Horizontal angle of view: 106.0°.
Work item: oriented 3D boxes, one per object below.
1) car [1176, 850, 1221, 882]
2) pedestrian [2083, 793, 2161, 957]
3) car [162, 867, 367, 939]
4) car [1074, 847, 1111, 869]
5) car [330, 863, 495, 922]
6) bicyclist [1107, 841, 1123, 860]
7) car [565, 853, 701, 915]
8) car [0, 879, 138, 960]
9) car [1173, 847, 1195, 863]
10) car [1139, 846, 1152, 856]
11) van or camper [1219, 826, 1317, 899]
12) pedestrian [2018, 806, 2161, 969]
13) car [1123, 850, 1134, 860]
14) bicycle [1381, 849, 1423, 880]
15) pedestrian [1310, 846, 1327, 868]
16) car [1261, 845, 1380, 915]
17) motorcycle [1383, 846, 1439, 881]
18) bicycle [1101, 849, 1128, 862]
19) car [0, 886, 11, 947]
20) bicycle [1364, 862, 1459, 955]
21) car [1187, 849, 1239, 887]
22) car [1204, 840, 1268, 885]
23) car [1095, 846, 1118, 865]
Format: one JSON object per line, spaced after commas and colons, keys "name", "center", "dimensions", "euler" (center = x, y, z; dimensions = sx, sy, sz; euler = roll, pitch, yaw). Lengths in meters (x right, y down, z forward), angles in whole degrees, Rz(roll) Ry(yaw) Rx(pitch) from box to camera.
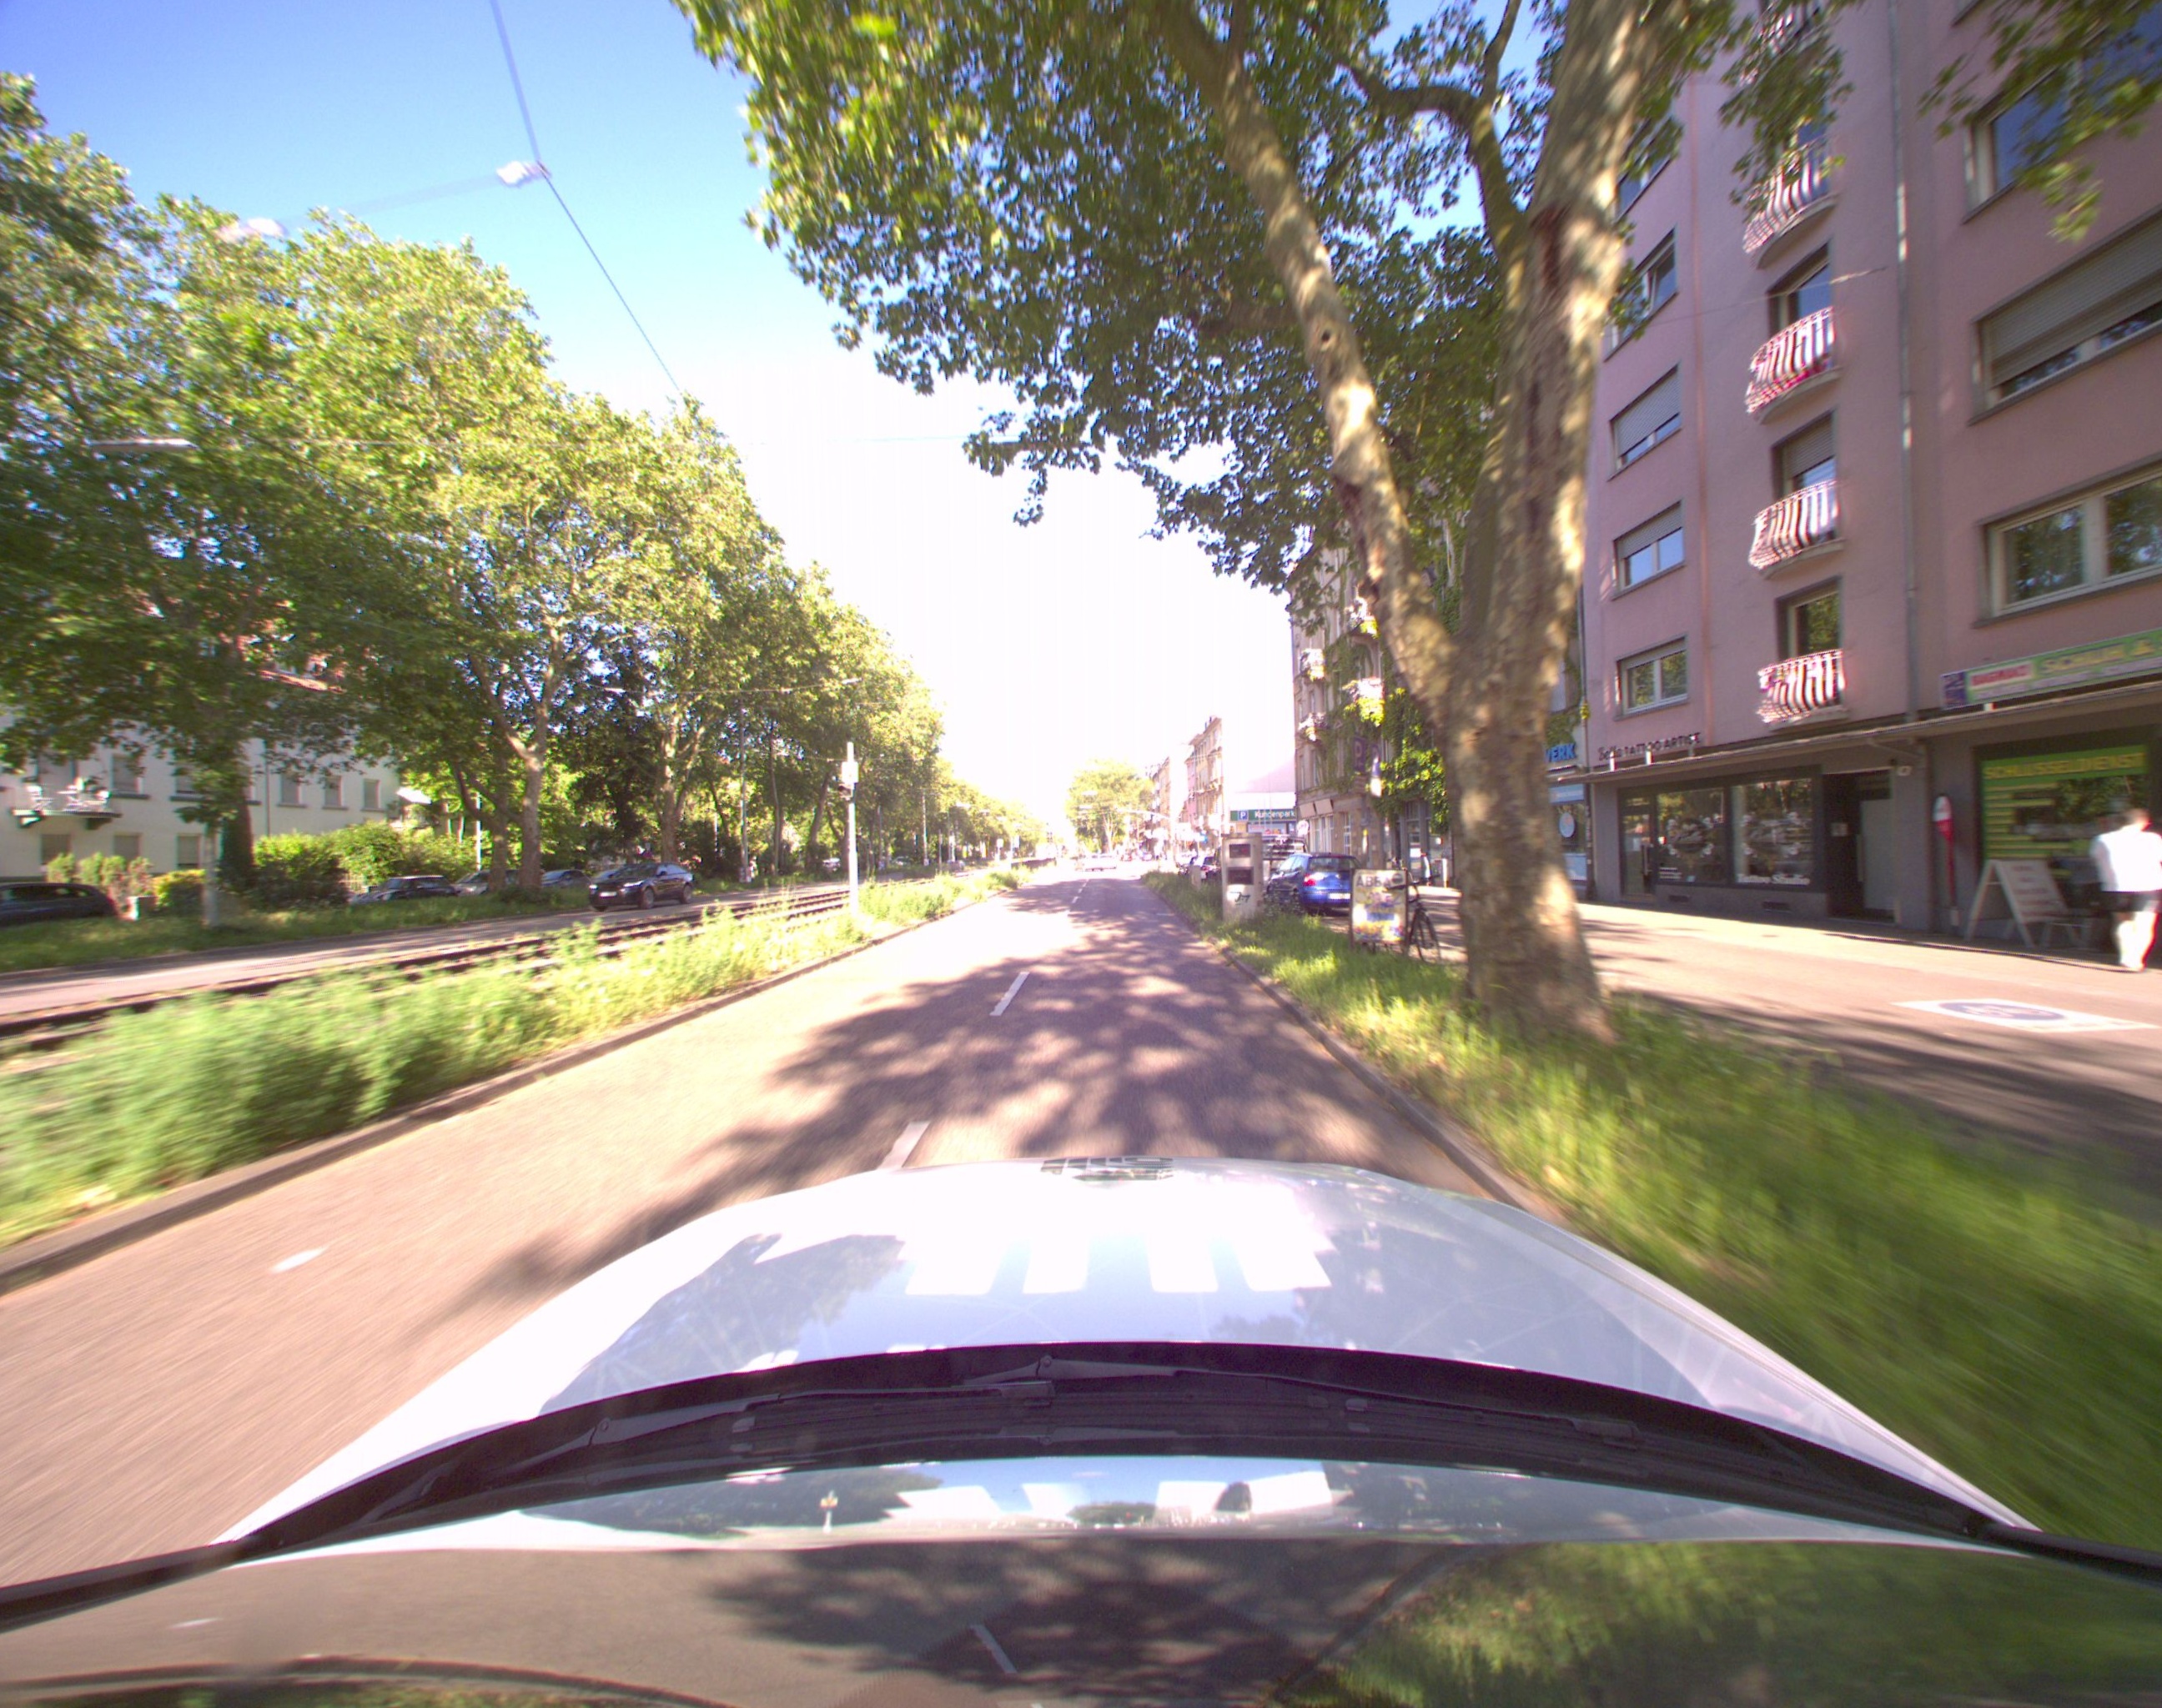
{"name": "car", "center": [5.678, 0.551, 39.750], "dimensions": [1.677, 1.509, 3.667], "euler": [-1, 0, 0]}
{"name": "pedestrian", "center": [12.324, 0.218, 9.321], "dimensions": [0.683, 1.820, 0.812], "euler": [-2, 0, -1]}
{"name": "car", "center": [-26.941, 1.524, 27.173], "dimensions": [1.986, 2.013, 4.685], "euler": [-2, 1, 1]}
{"name": "car", "center": [0.894, 0.327, 66.236], "dimensions": [2.024, 1.662, 3.981], "euler": [-1, 0, -14]}
{"name": "car", "center": [-26.580, 1.458, 32.698], "dimensions": [2.145, 2.013, 5.270], "euler": [-2, 1, 1]}
{"name": "bicyclist", "center": [3.477, -0.319, 82.642], "dimensions": [1.311, 1.882, 0.987], "euler": [-2, 0, 27]}
{"name": "car", "center": [-15.941, 0.988, 29.346], "dimensions": [1.986, 1.870, 4.875], "euler": [-3, 0, 2]}
{"name": "car", "center": [-27.016, 1.658, 20.197], "dimensions": [1.814, 1.836, 4.555], "euler": [-2, 1, 1]}
{"name": "car", "center": [10.055, 0.120, 79.646], "dimensions": [1.677, 1.509, 3.667], "euler": [-1, 0, 0]}
{"name": "car", "center": [9.992, -0.415, 126.781], "dimensions": [1.677, 1.509, 3.667], "euler": [-1, 0, 0]}
{"name": "van or camper", "center": [5.541, 0.214, 24.810], "dimensions": [1.833, 1.963, 5.127], "euler": [-1, 0, 0]}
{"name": "pedestrian", "center": [11.332, 0.350, 9.026], "dimensions": [0.919, 1.709, 0.813], "euler": [-2, 0, 2]}
{"name": "car", "center": [7.482, 0.185, 128.208], "dimensions": [1.676, 1.509, 3.670], "euler": [-1, 0, 2]}
{"name": "bicycle", "center": [12.711, 0.398, 32.325], "dimensions": [0.882, 1.134, 2.402], "euler": [-2, 0, 5]}
{"name": "pedestrian", "center": [12.908, 0.170, 44.304], "dimensions": [0.704, 1.151, 0.740], "euler": [-1, 0, 2]}
{"name": "car", "center": [5.603, 0.557, 19.509], "dimensions": [1.678, 1.514, 3.665], "euler": [-1, 0, -2]}
{"name": "motorcycle", "center": [12.347, 0.348, 30.502], "dimensions": [0.562, 1.268, 1.872], "euler": [1, 0, -43]}
{"name": "bicycle", "center": [3.357, 0.164, 82.713], "dimensions": [2.499, 1.314, 0.995], "euler": [-1, 0, 27]}
{"name": "car", "center": [-36.535, 2.079, 25.444], "dimensions": [3.794, 1.938, 1.714], "euler": [-2, 0, -1]}
{"name": "bicycle", "center": [3.935, 0.610, 9.801], "dimensions": [0.586, 0.990, 1.451], "euler": [-2, 0, 3]}
{"name": "car", "center": [5.677, 0.569, 35.276], "dimensions": [1.677, 1.509, 3.667], "euler": [-1, 0, 0]}
{"name": "car", "center": [5.655, 0.264, 30.150], "dimensions": [1.677, 1.509, 3.667], "euler": [-2, 1, 0]}
{"name": "car", "center": [2.414, 0.144, 77.280], "dimensions": [2.015, 1.662, 4.000], "euler": [-1, 0, 0]}
